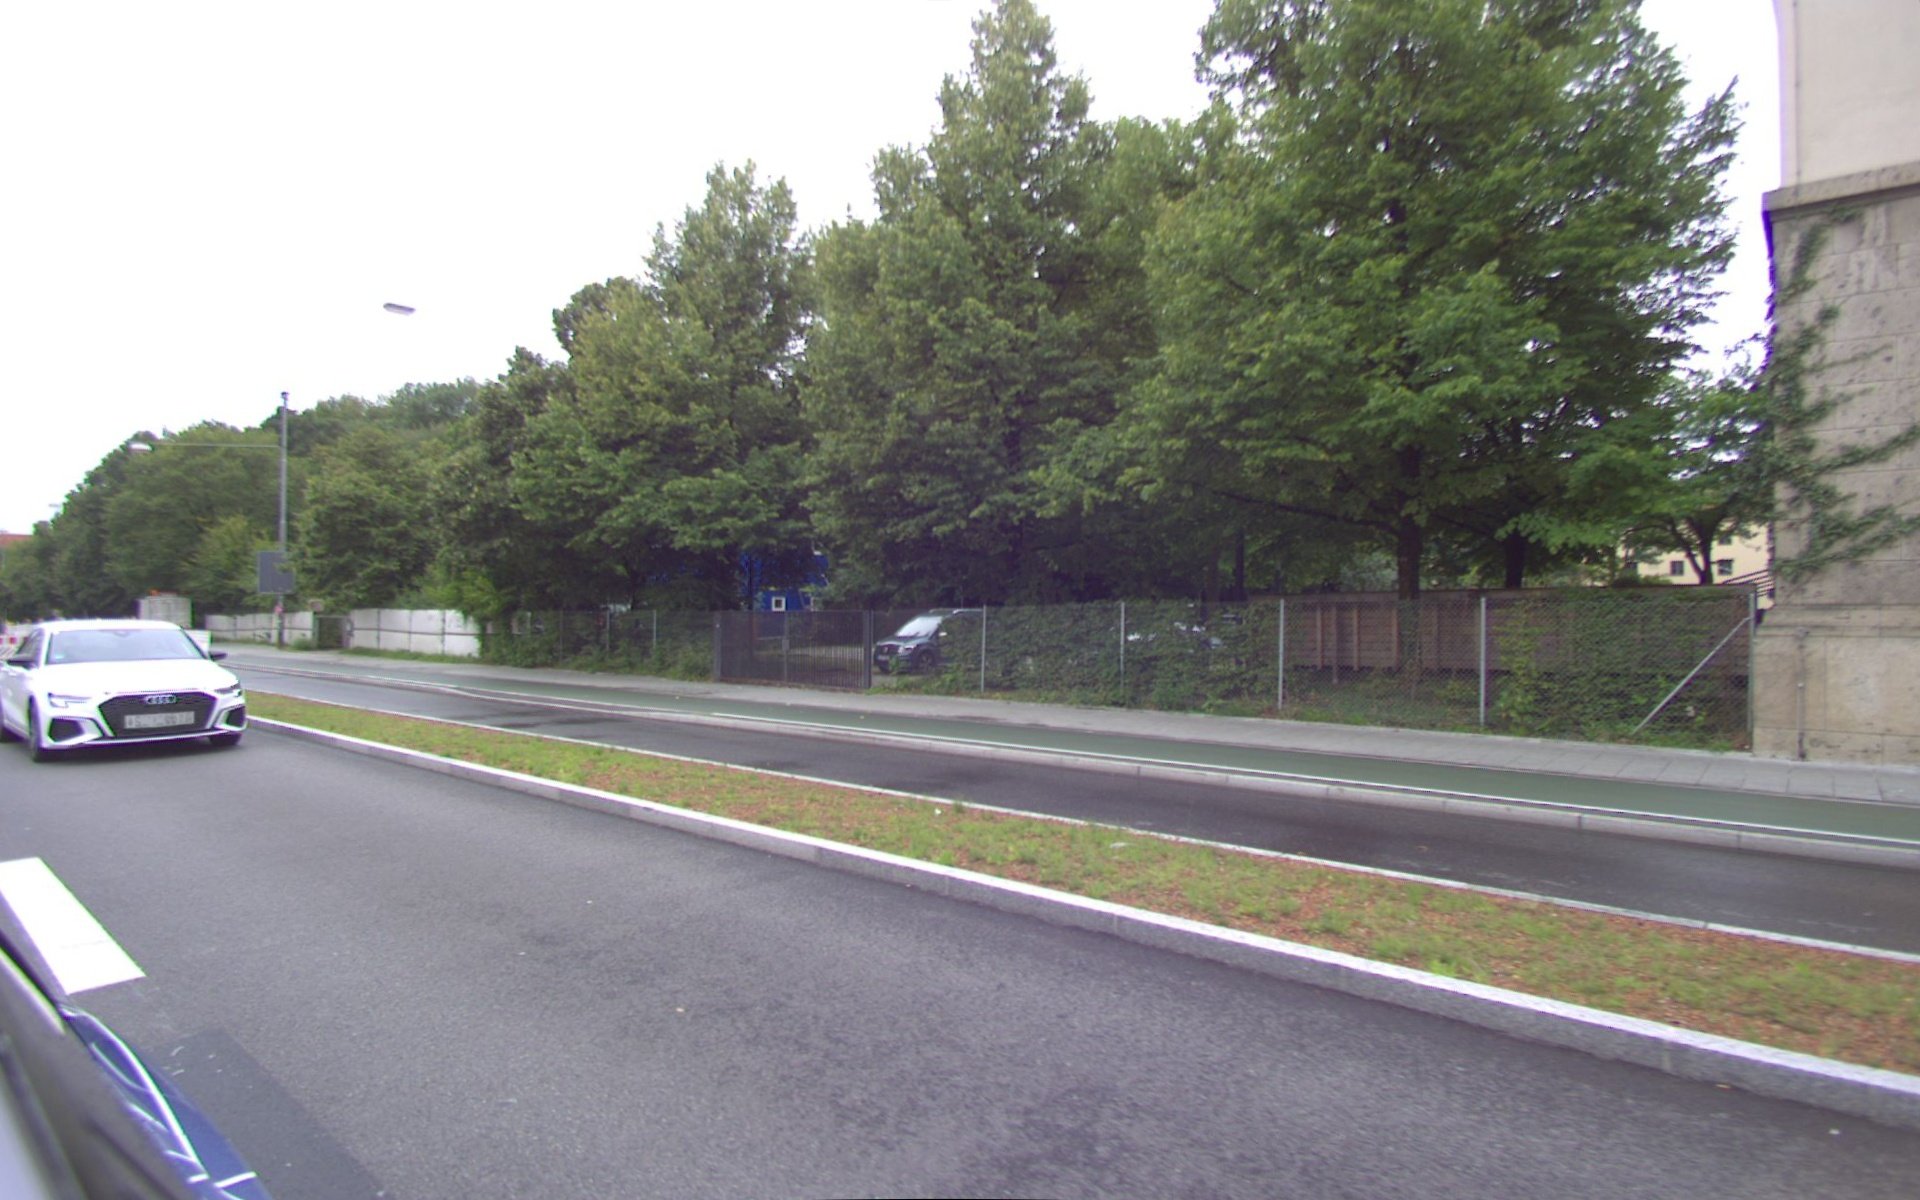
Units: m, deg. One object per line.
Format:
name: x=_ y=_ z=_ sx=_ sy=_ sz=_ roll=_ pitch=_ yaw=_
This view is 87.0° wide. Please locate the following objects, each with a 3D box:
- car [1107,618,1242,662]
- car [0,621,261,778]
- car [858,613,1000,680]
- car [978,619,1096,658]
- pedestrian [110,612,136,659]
car: x=7.525 y=1.377 z=35.719 sx=4.257 sy=1.459 sz=1.974 roll=-1 pitch=-1 yaw=39
car: x=-9.794 y=0.985 z=11.656 sx=4.449 sy=1.435 sz=1.794 roll=-1 pitch=0 yaw=41
car: x=-0.870 y=1.307 z=29.742 sx=1.877 sy=1.722 sz=3.981 roll=2 pitch=1 yaw=45
car: x=2.976 y=1.484 z=39.735 sx=4.257 sy=1.414 sz=1.974 roll=-1 pitch=-1 yaw=39
pedestrian: x=-36.928 y=1.542 z=44.659 sx=0.867 sy=2.029 sz=0.748 roll=-1 pitch=-1 yaw=41
